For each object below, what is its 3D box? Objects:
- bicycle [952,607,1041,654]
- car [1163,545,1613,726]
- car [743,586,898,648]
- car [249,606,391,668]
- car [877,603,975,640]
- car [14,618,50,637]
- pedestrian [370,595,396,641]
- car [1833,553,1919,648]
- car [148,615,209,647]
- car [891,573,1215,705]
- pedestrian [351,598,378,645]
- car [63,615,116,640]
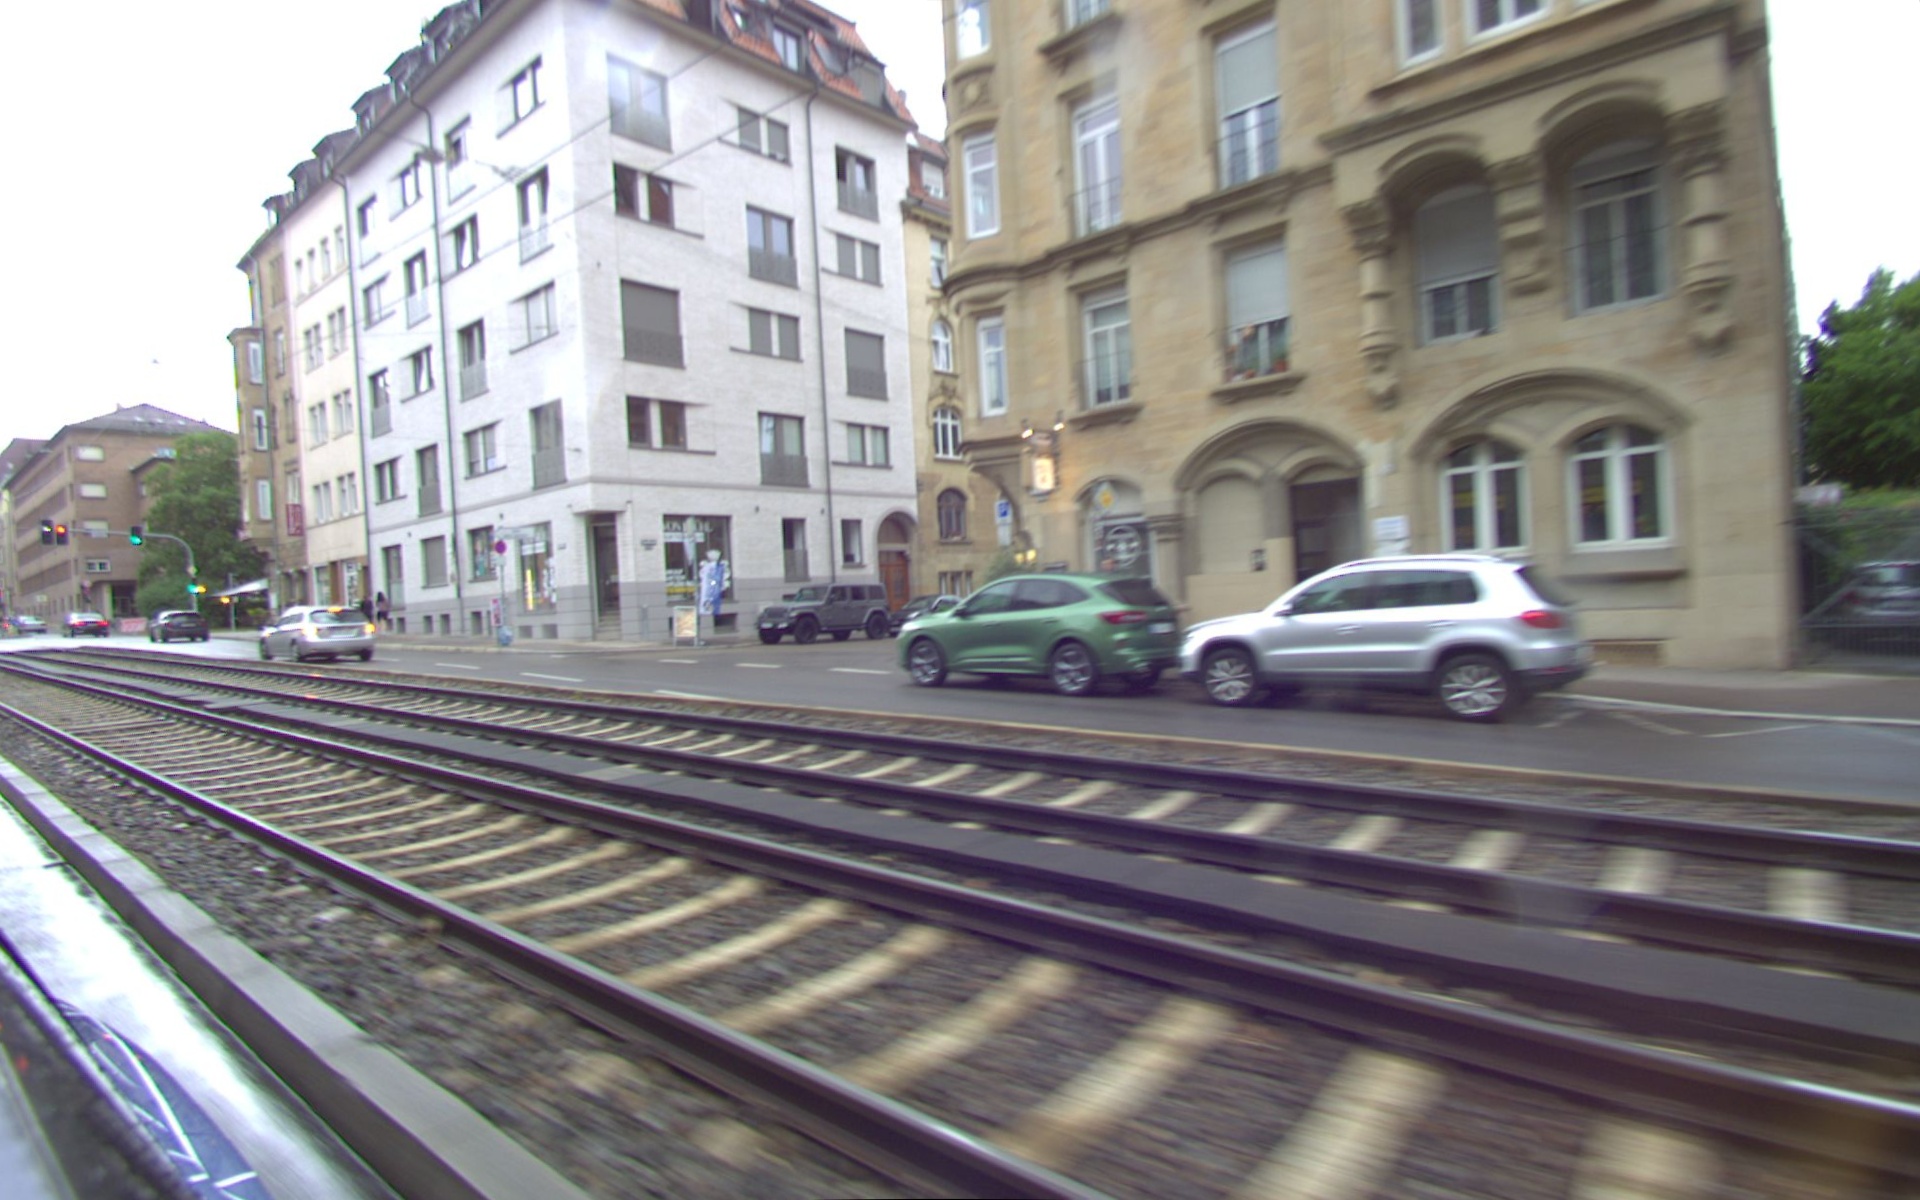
[{"bbox_3d":[0.911,0.743,24.952,2.100,1.128,0.622,0,-1,-20],"label":"bicycle"},{"bbox_3d":[4.668,0.358,11.400,4.312,1.665,1.840,-1,-1,40],"label":"car"},{"bbox_3d":[-4.236,0.475,31.366,2.032,1.741,4.647,-2,0,38],"label":"car"},{"bbox_3d":[-16.810,0.934,26.527,4.291,1.468,1.961,-1,-1,40],"label":"car"},{"bbox_3d":[-1.122,0.722,34.999,1.431,1.233,3.477,-1,-1,41],"label":"car"},{"bbox_3d":[-74.902,2.230,81.663,4.642,1.472,1.694,-1,0,42],"label":"car"},{"bbox_3d":[-22.282,0.694,39.059,0.658,1.731,0.595,-1,3,44],"label":"pedestrian"},{"bbox_3d":[15.810,-0.040,16.892,1.731,1.449,3.576,-2,0,43],"label":"car"},{"bbox_3d":[-36.419,1.413,47.120,3.781,1.398,1.686,-2,0,43],"label":"car"},{"bbox_3d":[1.198,0.506,14.495,4.430,1.614,1.838,-1,-1,43],"label":"car"},{"bbox_3d":[-22.745,0.812,38.625,0.746,1.731,0.595,-1,3,44],"label":"pedestrian"},{"bbox_3d":[-54.939,1.719,63.829,4.860,1.468,2.065,-1,-1,43],"label":"car"}]
